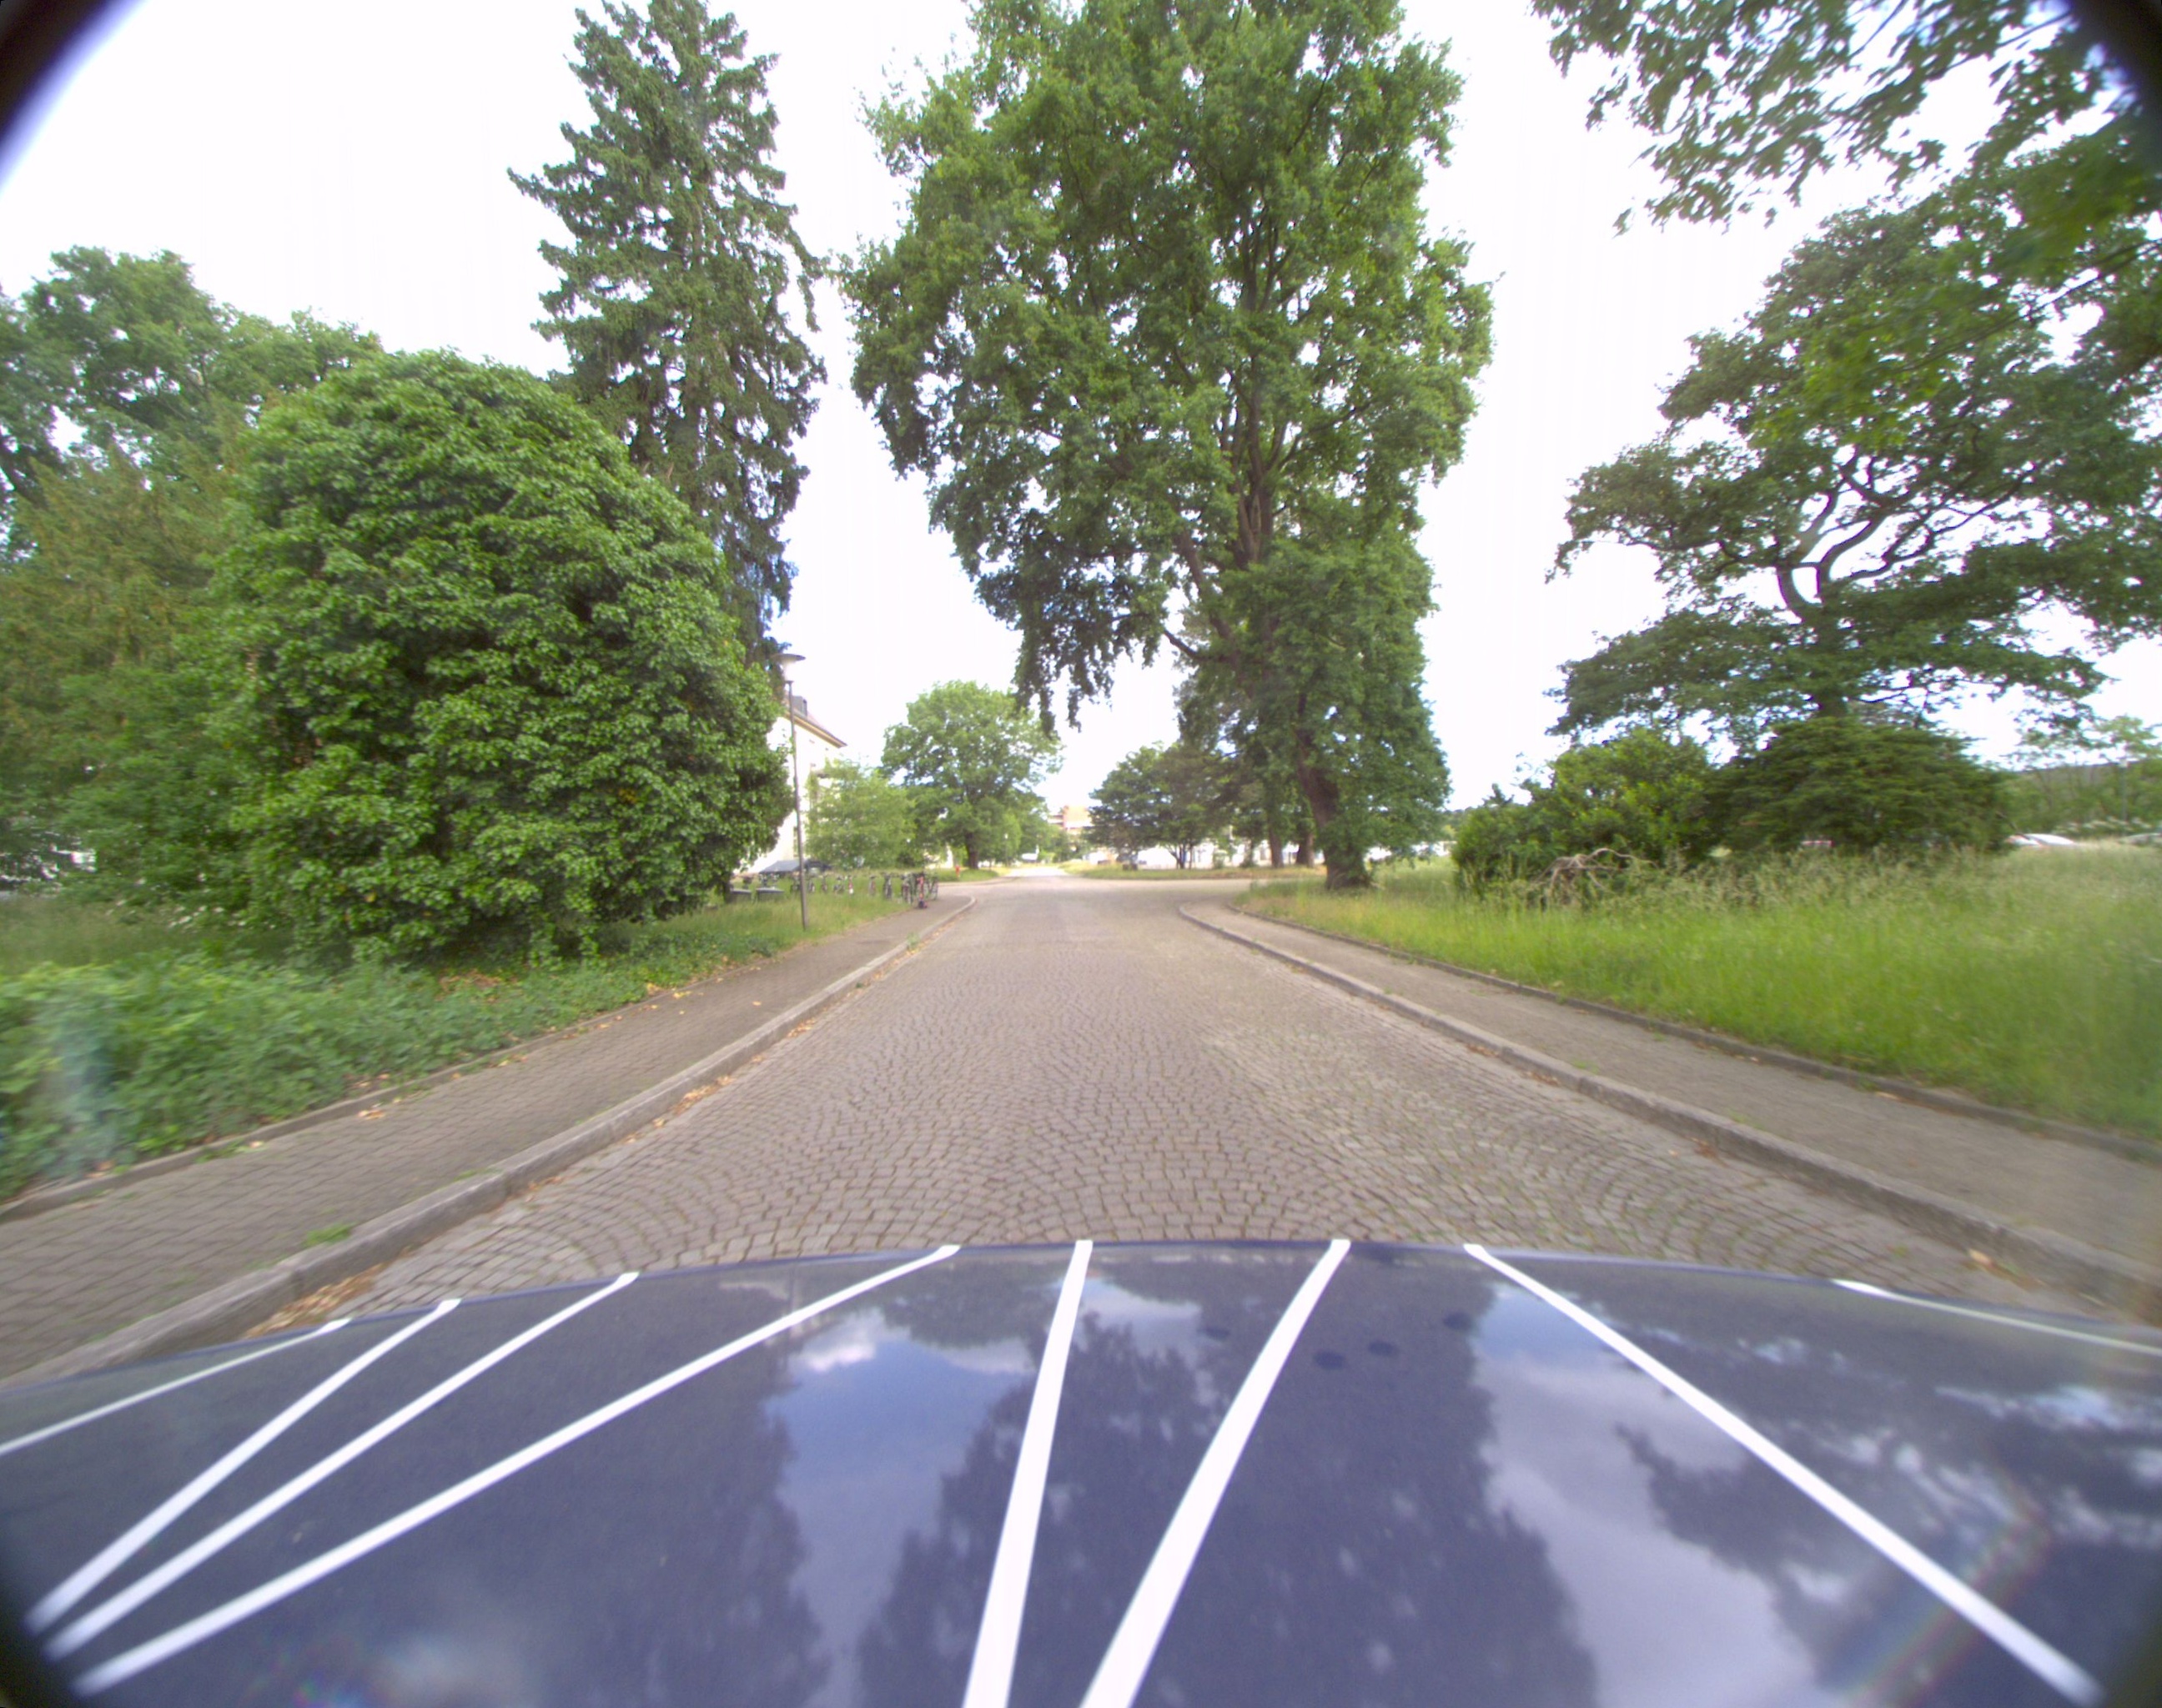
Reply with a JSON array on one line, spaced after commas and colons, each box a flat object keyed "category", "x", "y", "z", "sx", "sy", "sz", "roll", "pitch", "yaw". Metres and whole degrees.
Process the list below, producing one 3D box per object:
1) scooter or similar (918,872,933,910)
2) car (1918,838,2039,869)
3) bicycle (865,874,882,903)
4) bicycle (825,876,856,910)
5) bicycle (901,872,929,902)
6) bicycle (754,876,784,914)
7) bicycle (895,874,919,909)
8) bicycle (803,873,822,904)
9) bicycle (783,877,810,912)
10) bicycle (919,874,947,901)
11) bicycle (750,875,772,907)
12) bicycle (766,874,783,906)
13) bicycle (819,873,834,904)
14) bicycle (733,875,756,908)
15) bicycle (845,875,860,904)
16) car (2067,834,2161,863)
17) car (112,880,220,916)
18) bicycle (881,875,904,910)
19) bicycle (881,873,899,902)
[{"category": "scooter or similar", "x": -5.138, "y": 1.215, "z": 25.095, "sx": 0.357, "sy": 1.202, "sz": 1.137, "roll": -2, "pitch": 0, "yaw": -7}, {"category": "car", "x": 44.785, "y": 0.021, "z": 38.024, "sx": 1.577, "sy": 1.412, "sz": 3.663, "roll": -1, "pitch": -2, "yaw": -4}, {"category": "bicycle", "x": -8.044, "y": 1.312, "z": 29.407, "sx": 0.478, "sy": 1.002, "sz": 1.664, "roll": -2, "pitch": 2, "yaw": -19}, {"category": "bicycle", "x": -8.111, "y": 1.285, "z": 25.572, "sx": 0.619, "sy": 1.059, "sz": 1.822, "roll": -2, "pitch": 0, "yaw": -28}, {"category": "bicycle", "x": -6.594, "y": 1.293, "z": 30.118, "sx": 0.478, "sy": 1.068, "sz": 1.618, "roll": -3, "pitch": 2, "yaw": -34}, {"category": "bicycle", "x": -10.495, "y": 1.351, "z": 25.588, "sx": 0.551, "sy": 1.164, "sz": 1.752, "roll": -2, "pitch": 0, "yaw": -11}, {"category": "bicycle", "x": -6.037, "y": 1.275, "z": 26.281, "sx": 0.552, "sy": 1.108, "sz": 1.767, "roll": -2, "pitch": 0, "yaw": -21}, {"category": "bicycle", "x": -10.181, "y": 1.290, "z": 28.777, "sx": 0.478, "sy": 1.105, "sz": 1.762, "roll": -2, "pitch": 0, "yaw": -25}, {"category": "bicycle", "x": -9.380, "y": 1.319, "z": 25.019, "sx": 0.552, "sy": 1.059, "sz": 1.750, "roll": -2, "pitch": 0, "yaw": -28}, {"category": "bicycle", "x": -5.884, "y": 1.314, "z": 30.130, "sx": 0.478, "sy": 1.002, "sz": 1.618, "roll": -3, "pitch": 2, "yaw": -34}, {"category": "bicycle", "x": -11.782, "y": 1.340, "z": 28.032, "sx": 0.442, "sy": 1.105, "sz": 1.650, "roll": -2, "pitch": 0, "yaw": -13}, {"category": "bicycle", "x": -11.399, "y": 1.324, "z": 28.284, "sx": 0.478, "sy": 1.105, "sz": 1.762, "roll": -2, "pitch": 0, "yaw": -19}, {"category": "bicycle", "x": -9.645, "y": 1.272, "z": 28.763, "sx": 0.478, "sy": 1.105, "sz": 1.762, "roll": -2, "pitch": 0, "yaw": -19}, {"category": "bicycle", "x": -12.259, "y": 1.352, "z": 27.738, "sx": 0.442, "sy": 1.105, "sz": 1.650, "roll": -2, "pitch": 0, "yaw": -13}, {"category": "bicycle", "x": -8.811, "y": 1.336, "z": 29.282, "sx": 0.478, "sy": 1.002, "sz": 1.664, "roll": -2, "pitch": 2, "yaw": -19}, {"category": "car", "x": 53.782, "y": -0.263, "z": 38.913, "sx": 1.583, "sy": 1.331, "sz": 3.695, "roll": -1, "pitch": -2, "yaw": -4}, {"category": "car", "x": -44.384, "y": 2.090, "z": 36.950, "sx": 1.384, "sy": 1.556, "sz": 3.248, "roll": -1, "pitch": 0, "yaw": -3}, {"category": "bicycle", "x": -6.478, "y": 1.286, "z": 26.052, "sx": 0.552, "sy": 1.108, "sz": 1.802, "roll": -2, "pitch": 0, "yaw": -21}, {"category": "bicycle", "x": -7.439, "y": 1.294, "z": 29.550, "sx": 0.478, "sy": 1.002, "sz": 1.664, "roll": -2, "pitch": 2, "yaw": -19}]
